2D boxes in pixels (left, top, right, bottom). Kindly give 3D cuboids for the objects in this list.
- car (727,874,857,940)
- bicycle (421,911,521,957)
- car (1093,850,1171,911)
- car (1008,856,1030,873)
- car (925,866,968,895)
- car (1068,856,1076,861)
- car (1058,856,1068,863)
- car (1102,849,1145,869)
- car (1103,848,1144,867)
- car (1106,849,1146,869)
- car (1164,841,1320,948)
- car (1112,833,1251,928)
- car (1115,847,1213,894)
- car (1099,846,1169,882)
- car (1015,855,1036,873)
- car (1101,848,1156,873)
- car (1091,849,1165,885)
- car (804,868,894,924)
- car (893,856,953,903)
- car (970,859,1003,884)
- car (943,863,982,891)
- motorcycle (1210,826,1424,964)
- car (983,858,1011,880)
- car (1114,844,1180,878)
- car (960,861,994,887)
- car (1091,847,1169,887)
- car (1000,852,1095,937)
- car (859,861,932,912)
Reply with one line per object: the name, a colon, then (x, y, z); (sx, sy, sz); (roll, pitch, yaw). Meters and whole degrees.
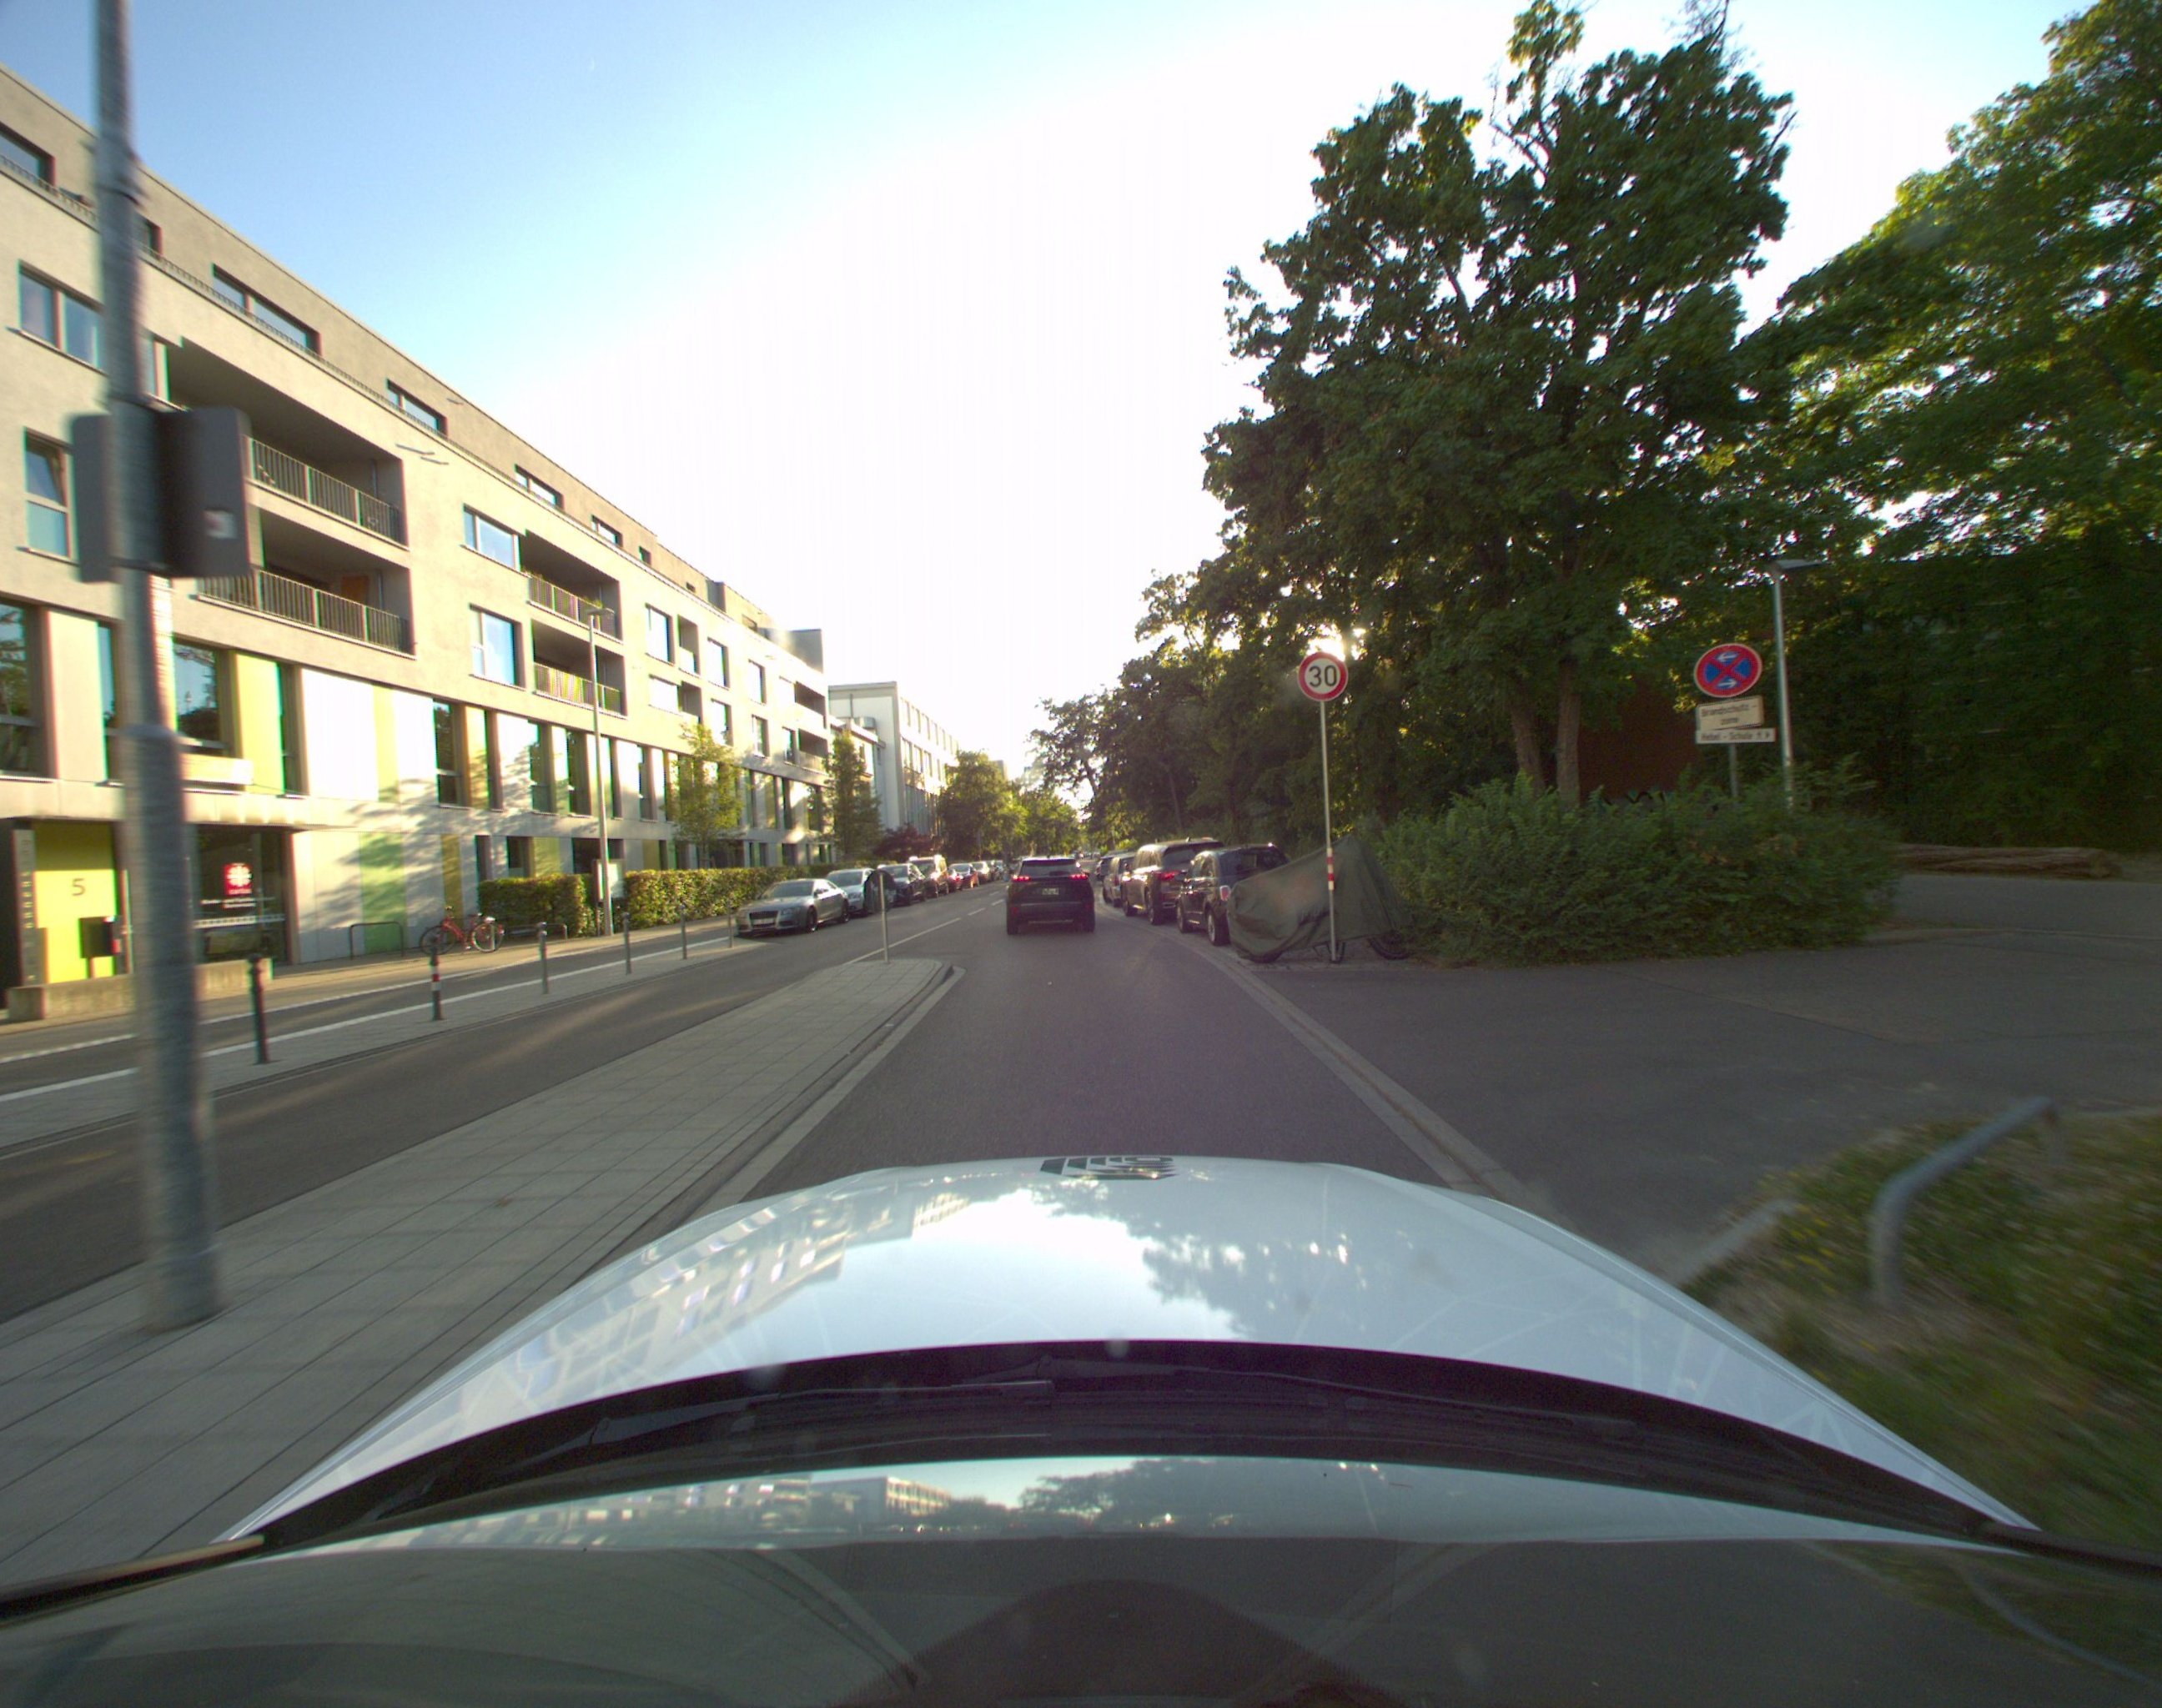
car: (-7.580, 1.341, 21.860); (1.736, 1.356, 4.398); (-4, 0, 1)
bicycle: (-13.721, 1.793, 18.343); (1.746, 0.918, 0.617); (-2, 0, -1)
car: (1.431, 0.736, 24.529); (1.648, 1.567, 4.293); (-4, 0, -5)
car: (-6.153, 1.051, 80.942); (1.664, 1.493, 4.063); (-4, 0, 2)
car: (-7.079, 1.371, 43.093); (1.551, 1.280, 3.733); (-5, 0, 0)
car: (-2.412, 1.241, 219.905); (1.806, 1.354, 3.996); (-4, 0, -2)
car: (-3.830, 1.070, 169.749); (1.807, 1.354, 3.995); (-4, 0, -4)
car: (4.131, 0.445, 79.814); (4.107, 1.667, 1.723); (-4, 0, 1)
car: (4.425, 0.319, 84.551); (4.150, 1.710, 1.870); (-3, 0, 5)
car: (4.268, 0.450, 77.332); (3.577, 1.566, 1.818); (-5, -1, 0)
car: (2.606, 0.621, 13.967); (1.618, 1.486, 3.412); (-4, 0, -6)
car: (2.083, 0.539, 18.419); (1.921, 1.748, 4.654); (-4, 0, -8)
car: (3.161, 0.619, 31.676); (3.614, 1.540, 1.672); (-3, 0, 1)
car: (2.949, 0.539, 45.669); (3.656, 1.552, 1.734); (-7, 0, -1)
car: (-5.891, 1.066, 86.406); (1.673, 1.708, 4.342); (-5, 0, 2)
car: (3.841, 0.534, 66.505); (4.321, 1.475, 1.743); (-6, 1, 2)
car: (2.450, 0.652, 42.994); (3.656, 1.444, 1.734); (-7, 0, -1)
car: (-7.594, 1.327, 27.056); (1.737, 1.533, 4.114); (-4, 0, -1)
car: (-7.298, 1.116, 37.953); (1.802, 1.889, 4.238); (-5, 0, 0)
car: (-6.790, 1.253, 58.845); (1.592, 1.507, 3.790); (-5, 0, 3)
car: (-6.901, 1.319, 47.713); (1.593, 1.455, 3.861); (-4, 0, 0)
motorcycle: (2.943, 0.517, 10.266); (2.269, 1.545, 1.046); (-4, 0, 35)
car: (-6.488, 1.160, 63.282); (1.595, 1.493, 3.774); (-5, 0, 2)
car: (3.867, 0.419, 48.321); (3.712, 1.498, 1.820); (-7, -1, 1)
car: (-6.840, 1.290, 53.945); (1.593, 1.455, 4.055); (-5, 0, 0)
car: (2.401, 0.635, 40.614); (3.600, 1.525, 1.671); (-7, 0, -1)
car: (-0.700, 0.771, 17.225); (1.764, 1.568, 3.377); (-2, 0, -2)
car: (-7.283, 1.232, 32.465); (1.736, 1.676, 4.416); (-5, 0, 0)
